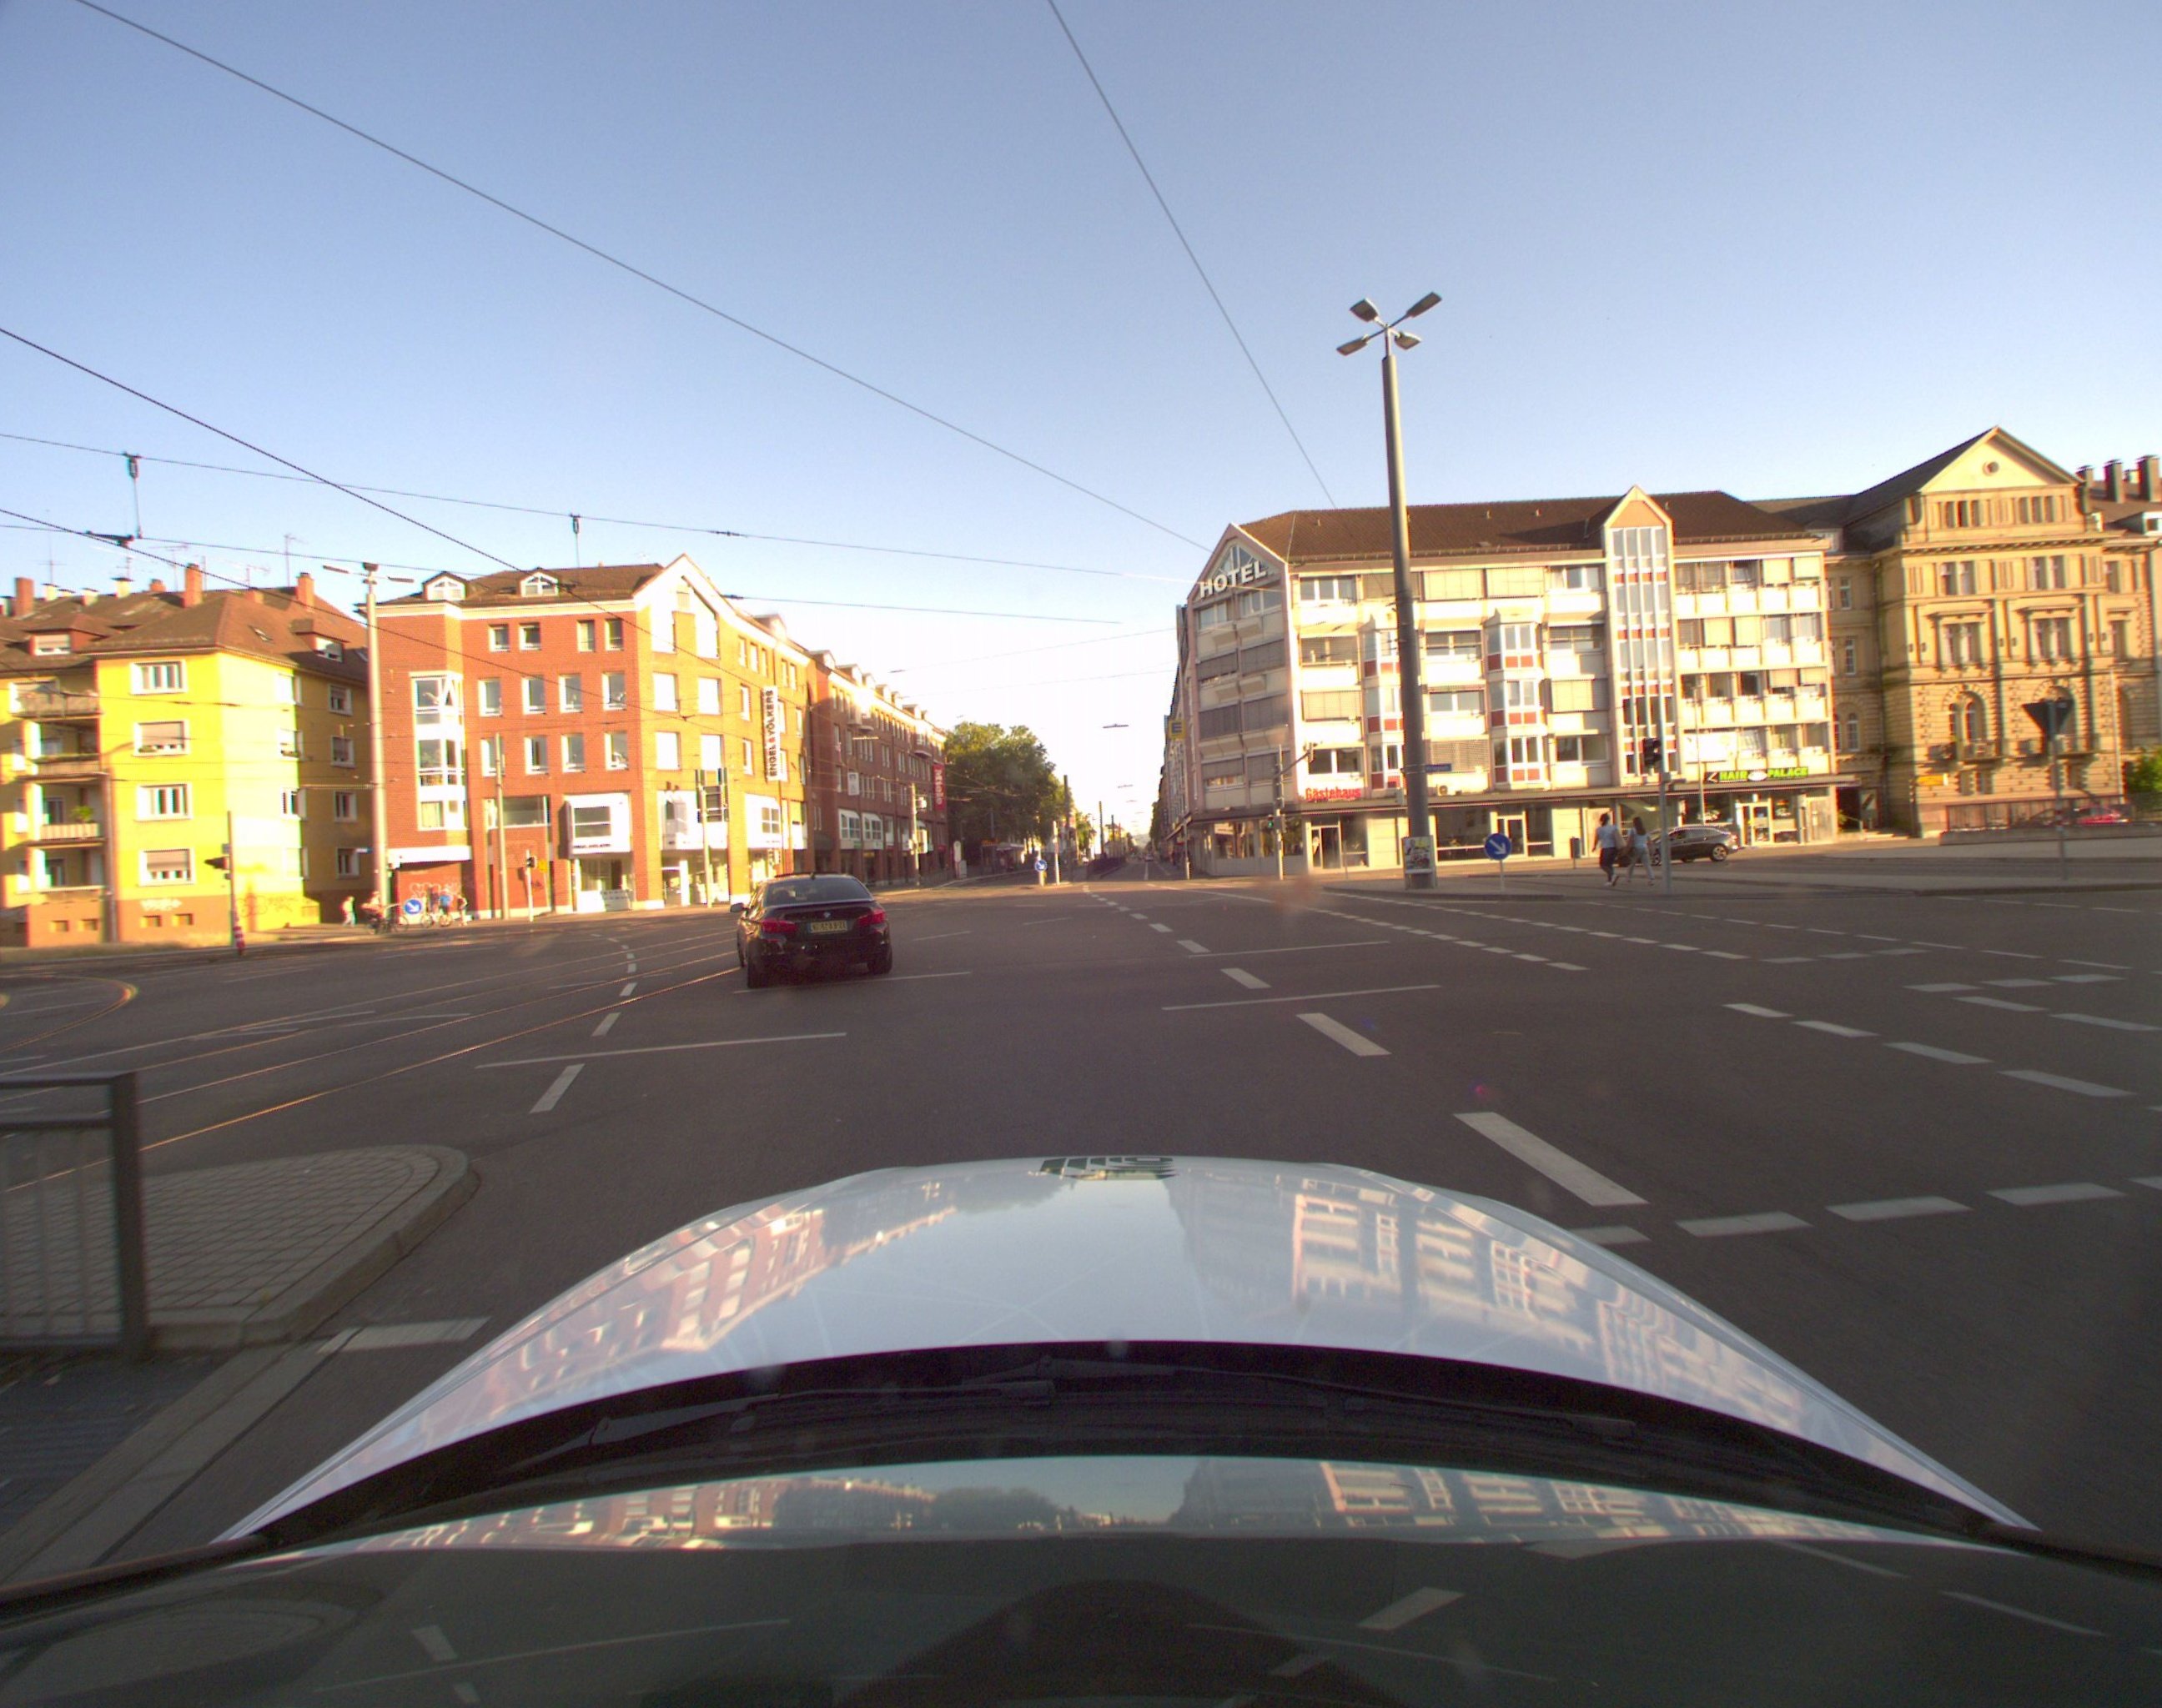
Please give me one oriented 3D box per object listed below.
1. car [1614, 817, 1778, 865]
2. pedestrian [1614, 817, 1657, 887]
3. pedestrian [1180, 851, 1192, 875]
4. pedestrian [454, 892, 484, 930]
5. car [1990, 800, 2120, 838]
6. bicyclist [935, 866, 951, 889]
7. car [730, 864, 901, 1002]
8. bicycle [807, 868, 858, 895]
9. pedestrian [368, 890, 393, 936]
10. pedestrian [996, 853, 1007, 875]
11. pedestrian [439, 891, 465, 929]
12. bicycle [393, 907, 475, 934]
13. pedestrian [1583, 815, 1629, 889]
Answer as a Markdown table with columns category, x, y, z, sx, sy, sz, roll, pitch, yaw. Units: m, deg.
| category | x | y | z | sx | sy | sz | roll | pitch | yaw |
| --- | --- | --- | --- | --- | --- | --- | --- | --- | --- |
| car | 23.865 | -0.469 | 31.796 | 4.570 | 1.555 | 2.228 | -3 | -1 | 8 |
| pedestrian | 13.041 | -0.059 | 19.149 | 0.696 | 1.582 | 0.831 | -4 | -1 | 39 |
| pedestrian | 7.075 | 0.591 | 55.067 | 0.703 | 1.548 | 0.907 | -2 | 3 | 2 |
| pedestrian | -30.572 | 2.832 | 40.702 | 0.869 | 1.793 | 0.708 | -3 | -1 | -8 |
| car | 43.110 | -1.528 | 36.100 | 3.873 | 1.422 | 1.648 | -3 | 0 | -2 |
| bicyclist | -15.034 | 2.562 | 88.814 | 1.285 | 2.468 | 1.670 | -3 | 0 | 3 |
| car | -4.112 | 0.981 | 12.120 | 1.850 | 1.495 | 4.257 | -4 | 1 | -25 |
| bicycle | -17.864 | 2.003 | 58.635 | 3.282 | 1.726 | 1.070 | -3 | 0 | 4 |
| pedestrian | -26.797 | 2.237 | 31.158 | 0.512 | 1.708 | 0.419 | -3 | 0 | 1 |
| pedestrian | -7.440 | 0.945 | 75.967 | 0.805 | 2.013 | 0.678 | -3 | 0 | 0 |
| pedestrian | -31.315 | 2.786 | 40.543 | 0.636 | 1.778 | 0.813 | -3 | -1 | -5 |
| bicycle | -31.492 | 3.226 | 39.652 | 3.050 | 1.017 | 0.930 | -3 | 0 | -6 |
| pedestrian | 12.120 | -0.059 | 18.805 | 0.718 | 1.649 | 0.777 | -4 | -1 | 39 |
